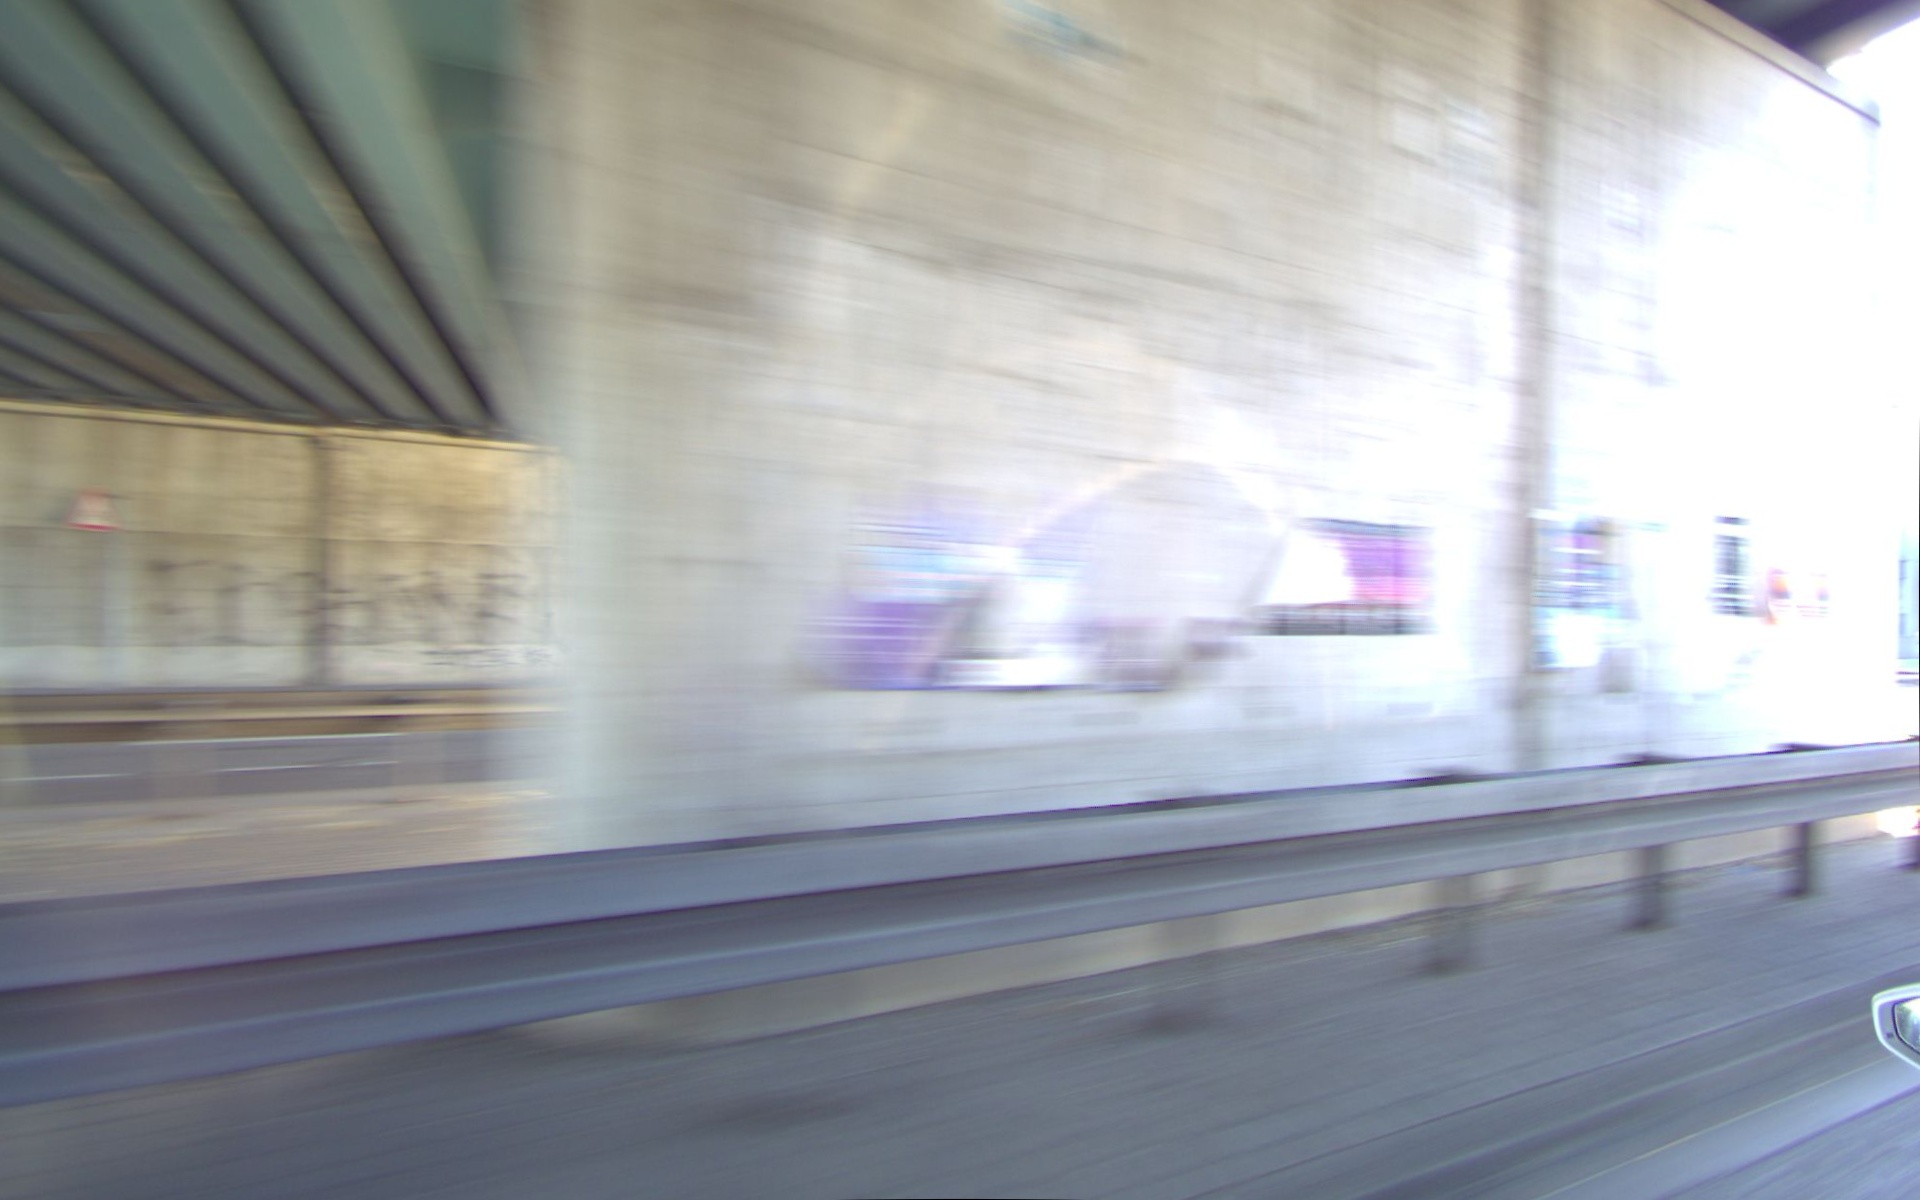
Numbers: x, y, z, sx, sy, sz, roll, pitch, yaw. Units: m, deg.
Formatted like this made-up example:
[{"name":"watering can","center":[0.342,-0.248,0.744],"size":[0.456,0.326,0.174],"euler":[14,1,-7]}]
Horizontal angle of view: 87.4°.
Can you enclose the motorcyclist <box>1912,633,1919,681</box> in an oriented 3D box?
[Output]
[{"name":"motorcyclist","center":[29.665,1.753,30.566],"size":[0.855,1.443,0.679],"euler":[2,0,-24]}]

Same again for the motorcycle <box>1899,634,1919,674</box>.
[{"name":"motorcycle","center":[29.642,1.667,30.563],"size":[2.207,1.171,0.679],"euler":[2,0,-23]}]
